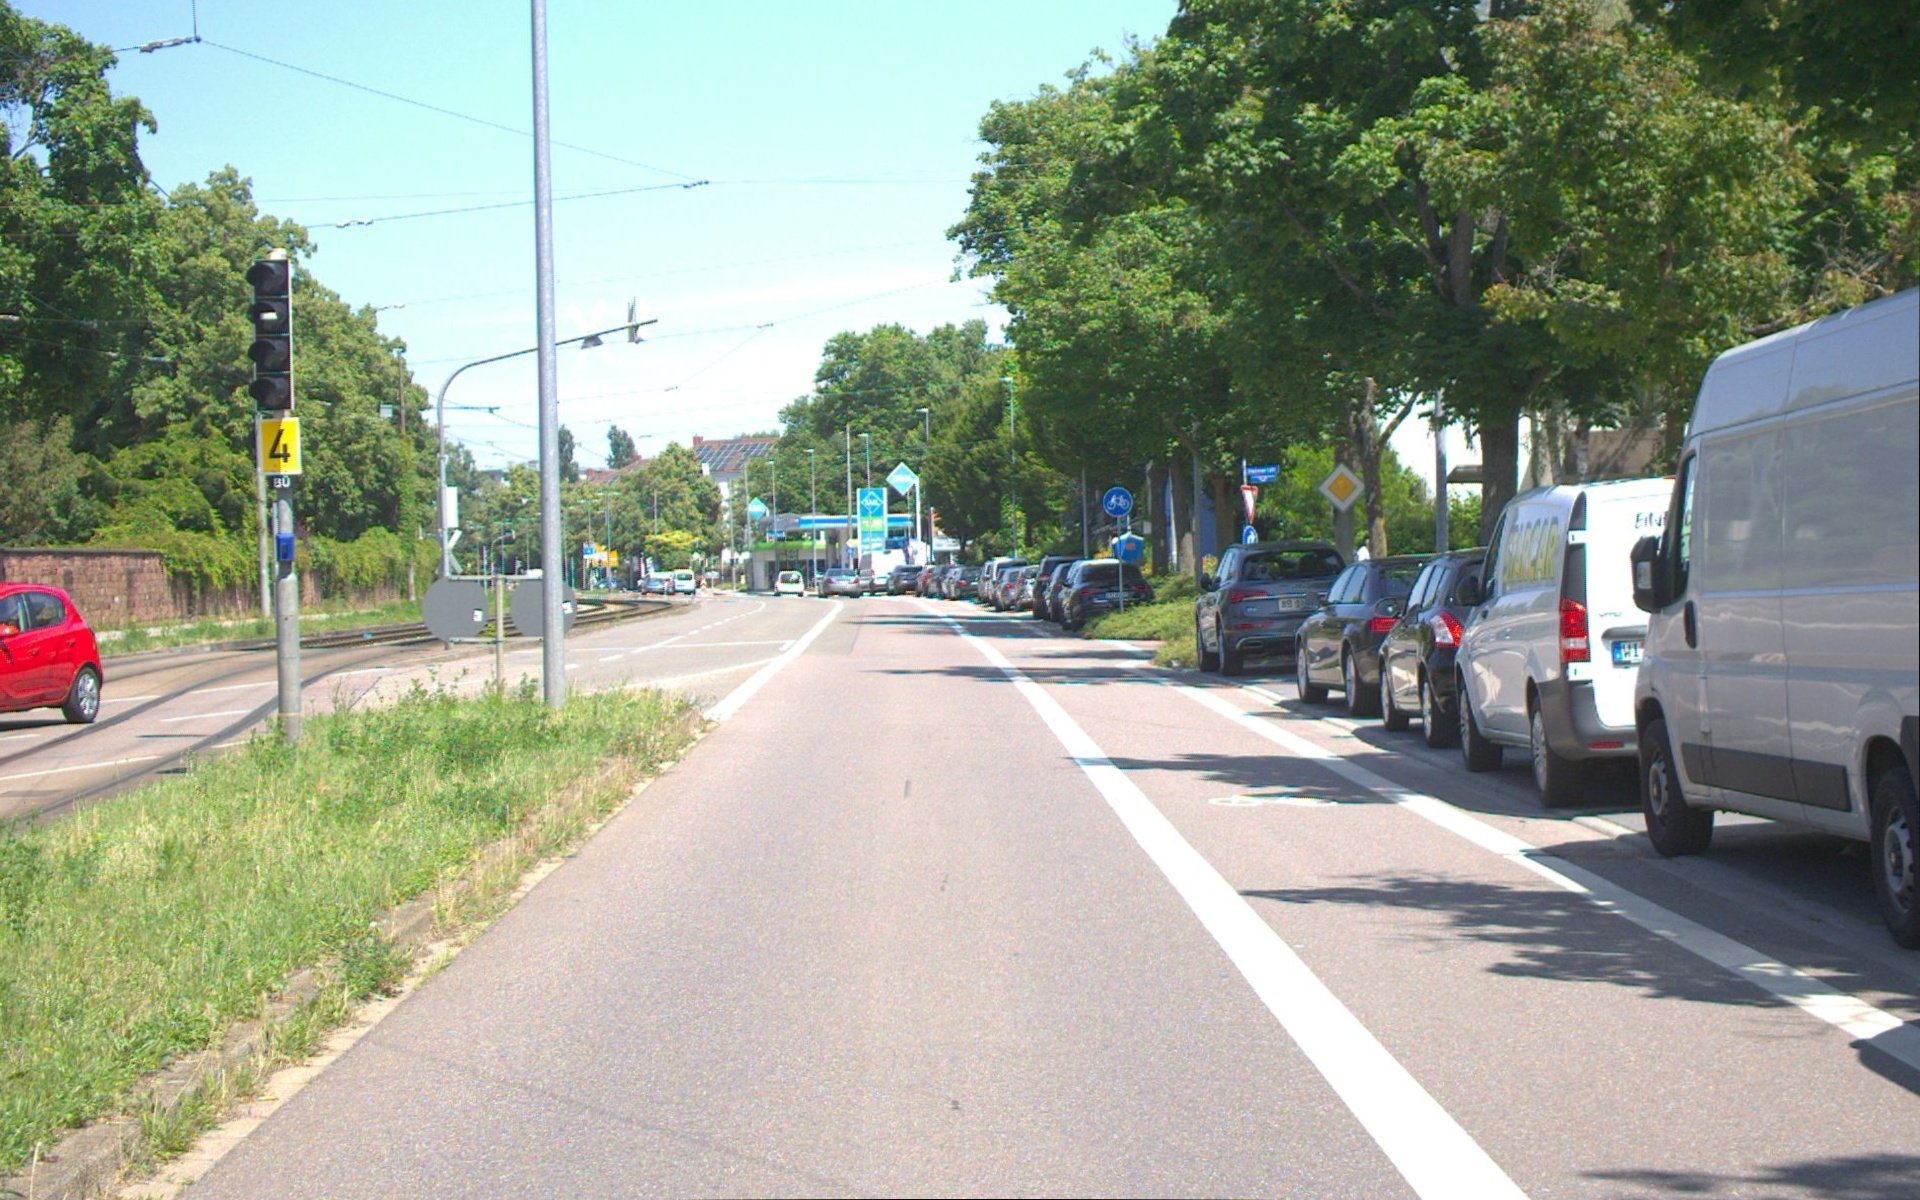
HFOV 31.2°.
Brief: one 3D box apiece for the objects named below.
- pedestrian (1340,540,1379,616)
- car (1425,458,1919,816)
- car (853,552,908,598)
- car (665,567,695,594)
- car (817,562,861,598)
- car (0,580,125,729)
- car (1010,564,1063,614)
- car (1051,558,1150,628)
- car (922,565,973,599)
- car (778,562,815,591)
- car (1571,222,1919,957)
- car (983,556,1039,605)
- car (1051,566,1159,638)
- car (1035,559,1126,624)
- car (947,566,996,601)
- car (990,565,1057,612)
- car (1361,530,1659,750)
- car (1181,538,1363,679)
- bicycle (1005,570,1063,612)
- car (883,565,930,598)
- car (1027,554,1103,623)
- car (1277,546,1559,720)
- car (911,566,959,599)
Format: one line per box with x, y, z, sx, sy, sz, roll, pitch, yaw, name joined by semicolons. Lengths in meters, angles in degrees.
9.093;-0.508;78.239;0.747;1.716;0.633;-1;0;-7;pedestrian
4.318;0.166;21.689;1.997;1.872;5.276;-3;1;1;car
-4.542;-1.408;195.560;2.000;2.448;6.111;-4;1;-11;car
-21.167;-1.459;259.720;1.755;1.868;4.325;-4;1;-10;car
-5.885;-0.955;167.009;1.755;1.625;4.325;-3;1;-6;car
-9.961;0.533;34.025;1.707;1.409;4.280;-1;1;10;car
2.551;-0.383;115.443;1.519;1.524;3.817;-3;1;-1;car
3.334;-0.182;82.326;1.840;1.524;4.206;-3;1;-4;car
-0.635;-0.874;169.609;1.706;1.557;4.325;-4;1;-10;car
-9.956;-1.426;209.107;1.755;1.625;4.325;-3;1;-9;car
4.352;-0.105;14.985;1.997;2.627;6.143;-3;1;-1;car
1.993;-0.798;135.422;1.840;1.788;4.354;-3;1;-3;car
3.174;0.012;75.924;1.840;1.431;4.825;-3;1;-3;car
3.053;-0.230;87.890;1.840;1.524;4.354;-3;1;-4;car
0.501;-0.788;158.445;1.706;1.487;5.039;-3;1;-5;car
2.208;-0.415;120.446;1.840;1.524;4.966;-3;1;-4;car
4.305;0.268;27.415;1.712;1.535;3.840;-3;1;1;car
3.963;0.105;44.291;1.712;1.627;4.708;-3;0;-1;car
2.444;-0.298;113.403;1.774;1.224;0.683;-6;0;3;bicycle
-2.923;-0.995;185.468;1.755;1.625;4.325;-4;1;-10;car
2.839;-0.333;93.524;1.840;1.700;4.626;-3;1;0;car
4.221;0.259;32.395;1.712;1.413;4.709;-3;1;-3;car
-1.296;-0.907;175.516;1.706;1.557;4.325;-4;1;-9;car
